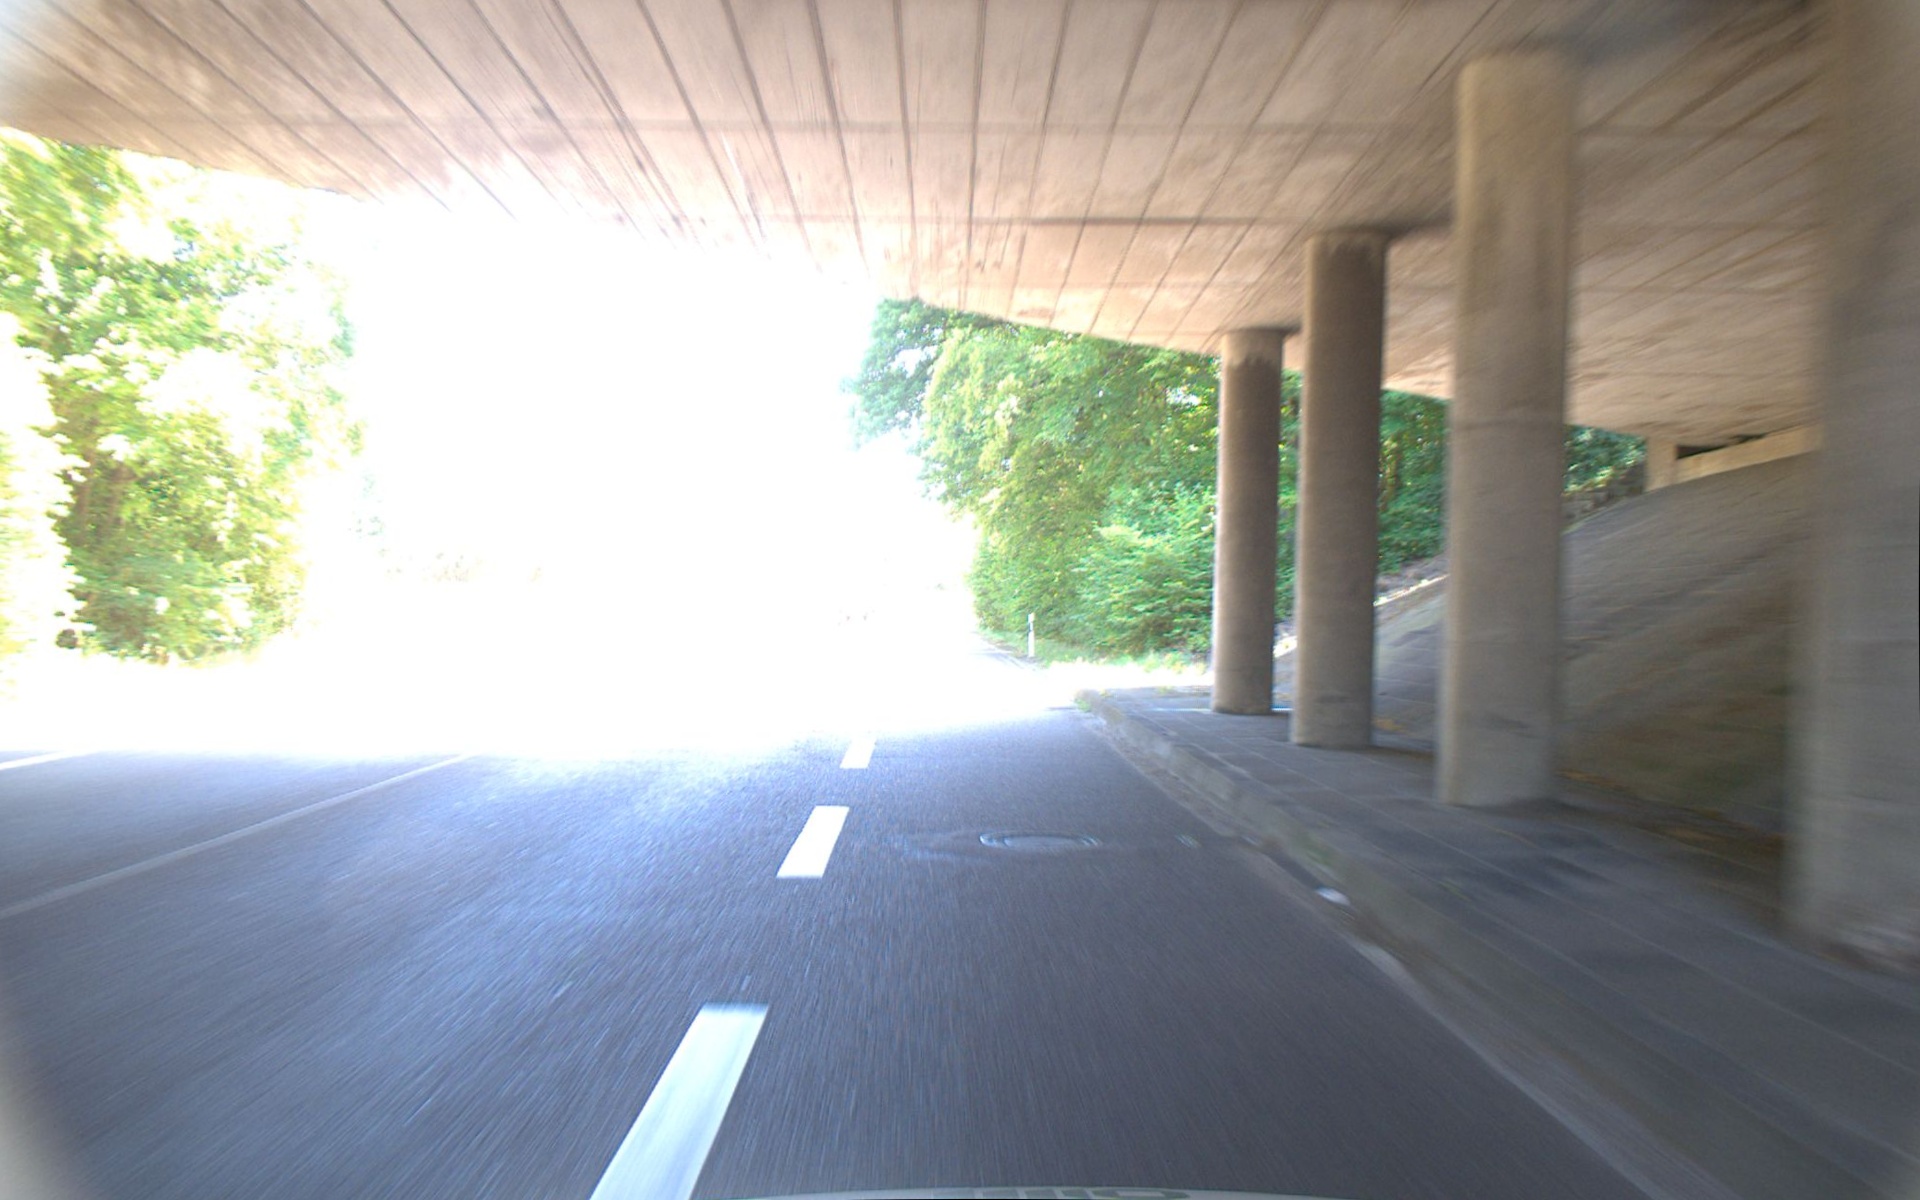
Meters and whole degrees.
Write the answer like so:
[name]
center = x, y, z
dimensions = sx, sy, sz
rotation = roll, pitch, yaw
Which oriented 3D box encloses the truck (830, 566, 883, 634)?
[truck]
center = -5.021, -0.047, 80.465
dimensions = 2.483, 3.190, 5.357
rotation = 0, 1, -3
